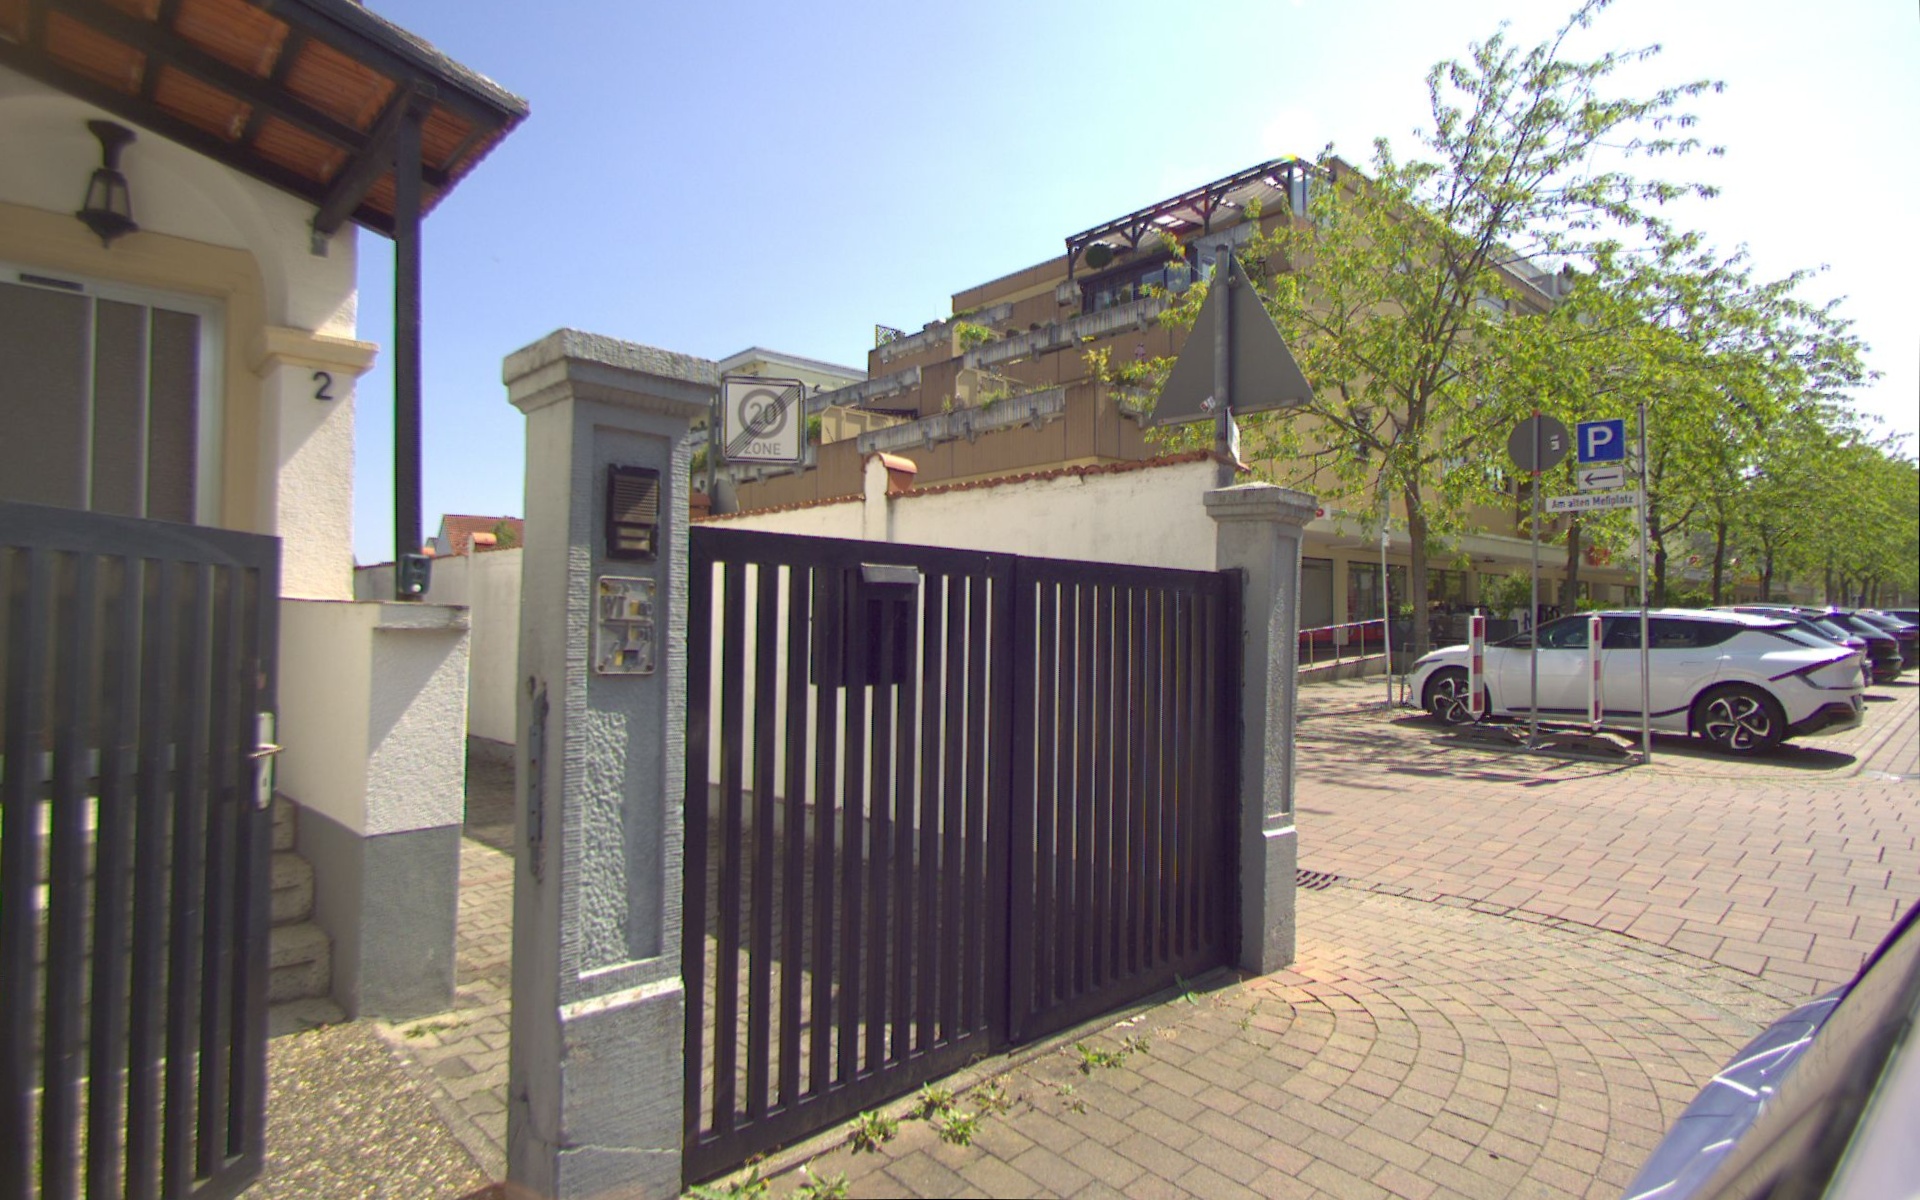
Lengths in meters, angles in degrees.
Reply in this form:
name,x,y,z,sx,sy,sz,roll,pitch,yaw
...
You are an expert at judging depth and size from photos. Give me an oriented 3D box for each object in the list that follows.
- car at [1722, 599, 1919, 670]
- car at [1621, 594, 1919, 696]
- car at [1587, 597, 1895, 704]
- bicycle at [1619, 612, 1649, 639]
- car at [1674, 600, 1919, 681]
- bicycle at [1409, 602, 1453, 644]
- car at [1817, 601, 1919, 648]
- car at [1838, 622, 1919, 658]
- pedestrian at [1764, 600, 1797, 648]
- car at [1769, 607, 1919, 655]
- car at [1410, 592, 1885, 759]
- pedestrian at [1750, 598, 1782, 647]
name,x,y,z,sx,sy,sz,roll,pitch,yaw
car,22.254,0.829,26.043,1.653,1.632,4.030,1,1,-43
car,15.255,0.756,19.168,1.968,1.702,4.281,1,-1,-44
car,13.243,0.767,17.323,1.793,1.553,3.948,1,0,-43
bicycle,28.202,1.046,42.329,1.835,1.095,0.642,0,-2,-44
car,18.899,0.830,22.620,1.817,1.608,4.516,1,0,-40
bicycle,13.145,0.627,28.204,1.743,1.138,0.413,0,-2,-42
car,34.600,0.894,37.449,1.727,1.638,4.247,1,0,-43
car,42.487,1.781,45.320,1.775,1.563,4.579,1,-2,-42
pedestrian,30.693,0.908,37.879,0.634,1.753,0.617,-1,-2,-9
car,29.891,0.998,33.681,4.348,1.482,1.871,1,0,29
car,8.016,0.741,12.164,1.758,1.596,4.446,1,0,-42
pedestrian,29.606,0.825,37.195,0.621,1.796,0.685,-1,-2,9
